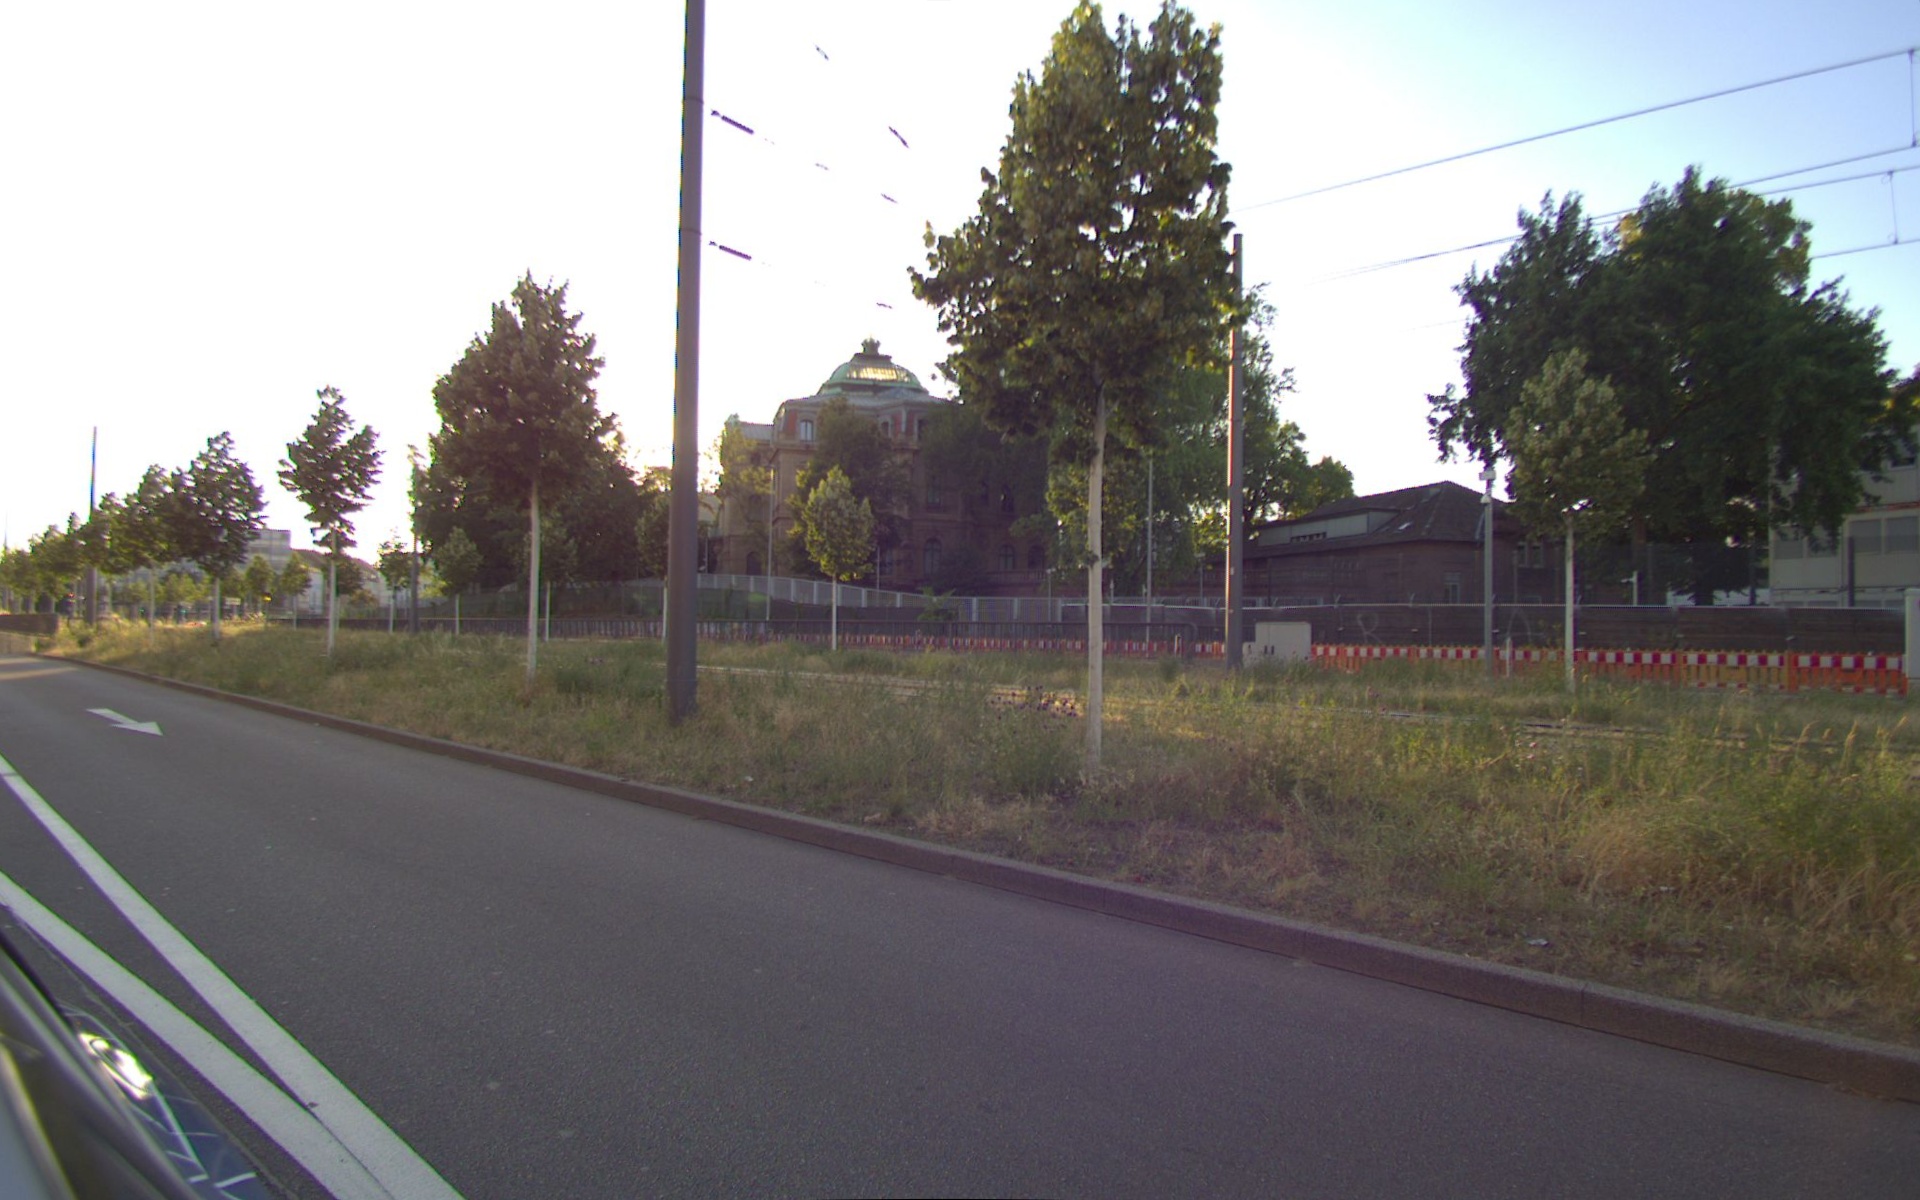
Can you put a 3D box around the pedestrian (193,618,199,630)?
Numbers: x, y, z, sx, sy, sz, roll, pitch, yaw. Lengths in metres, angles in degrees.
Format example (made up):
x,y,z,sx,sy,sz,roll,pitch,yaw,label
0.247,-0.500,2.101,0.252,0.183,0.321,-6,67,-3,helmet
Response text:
x,y,z,sx,sy,sz,roll,pitch,yaw,label
-110.392,3.417,146.219,0.637,1.725,0.839,2,-2,-40,pedestrian
